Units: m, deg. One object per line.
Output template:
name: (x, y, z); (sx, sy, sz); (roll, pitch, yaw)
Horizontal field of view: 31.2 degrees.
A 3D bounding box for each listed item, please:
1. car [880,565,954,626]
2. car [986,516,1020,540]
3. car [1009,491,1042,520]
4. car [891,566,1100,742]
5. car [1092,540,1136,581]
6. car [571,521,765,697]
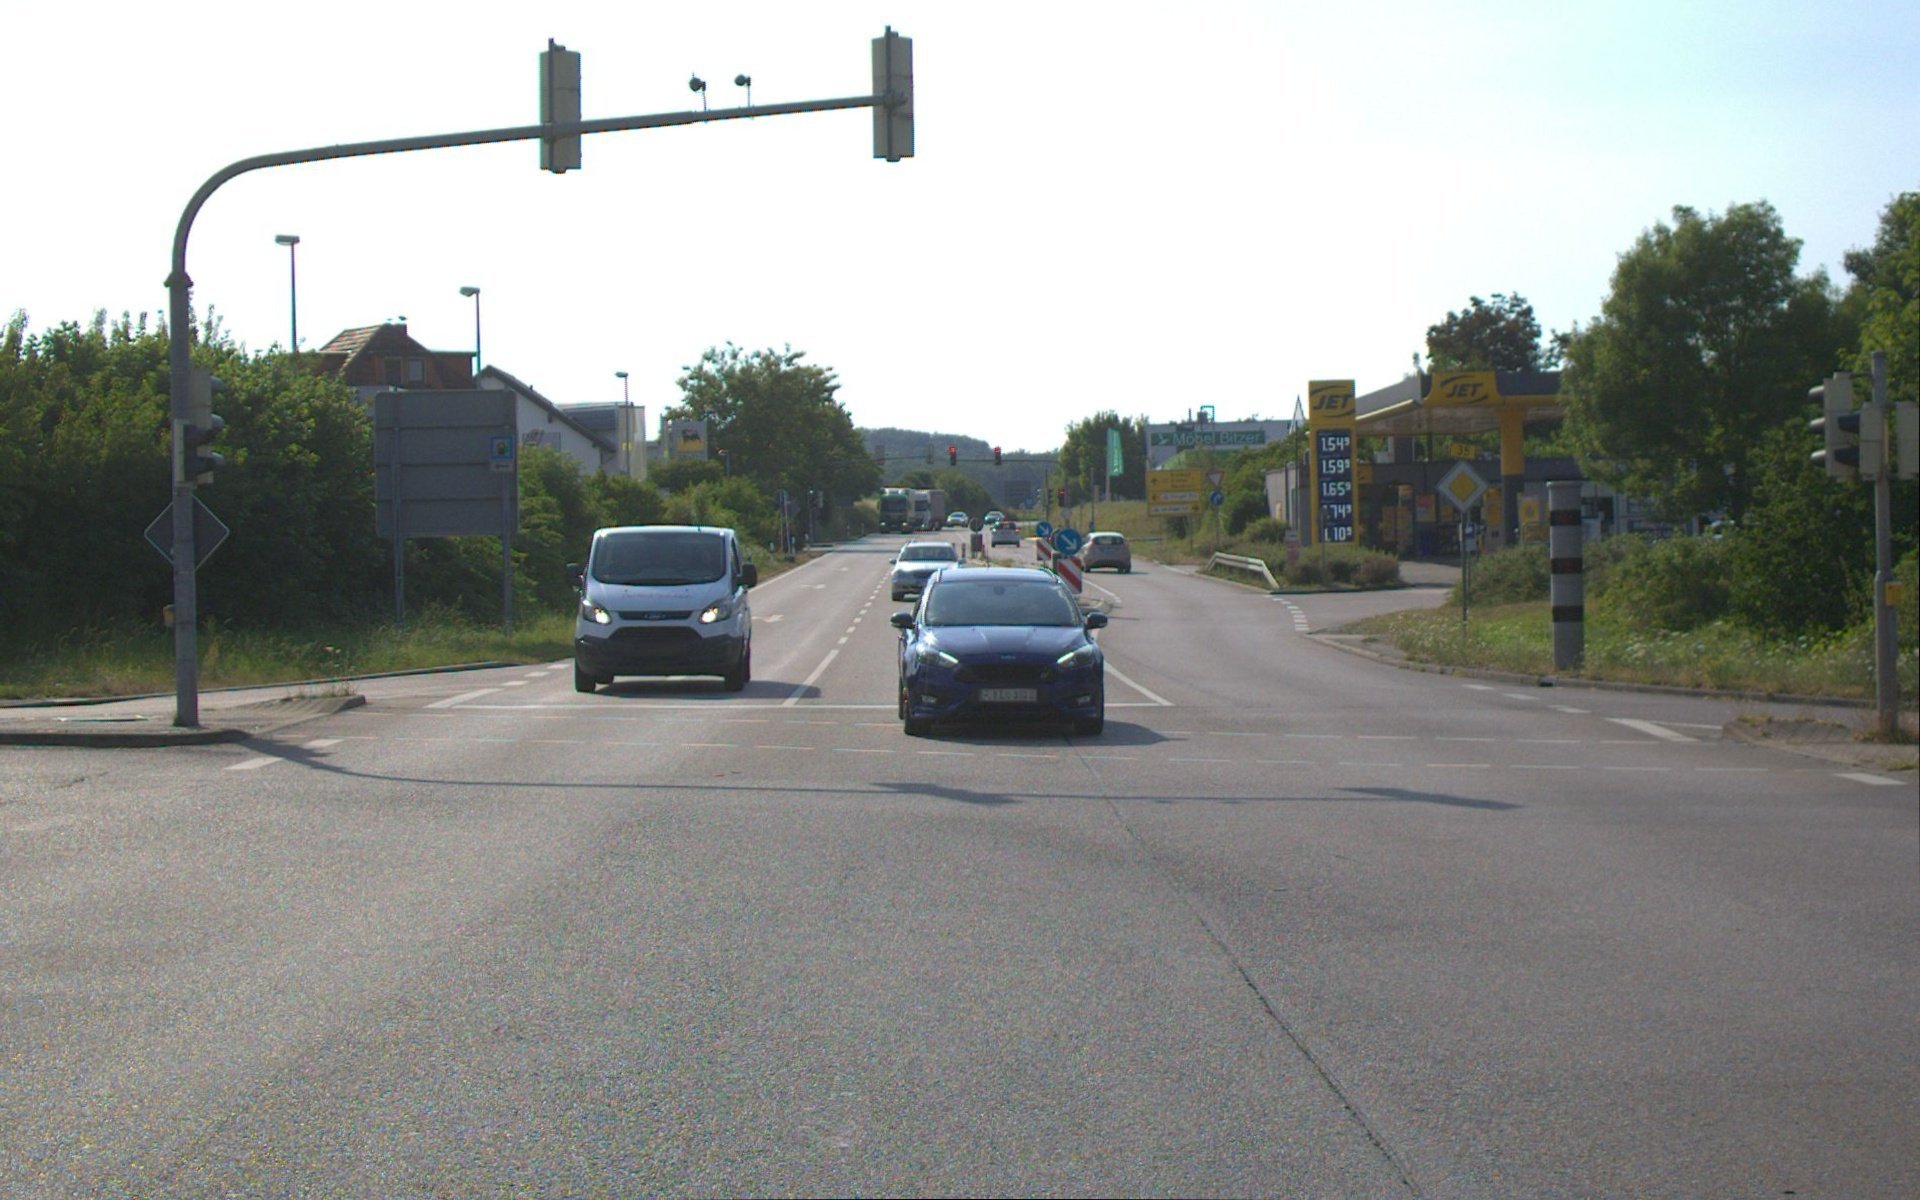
car: (-1.113, -0.114, 88.958); (1.857, 1.508, 4.953); (1, 0, -1)
car: (2.517, -4.214, 202.148); (1.740, 1.347, 3.204); (1, 0, -5)
car: (4.737, -6.890, 250.818); (1.993, 2.007, 4.001); (1, 0, -5)
car: (0.385, 0.468, 31.869); (1.788, 1.492, 4.302); (1, 0, 2)
car: (5.615, -1.436, 125.343); (1.550, 1.444, 3.050); (1, 0, 2)
car: (-3.477, 0.051, 41.727); (1.900, 1.941, 4.819); (1, 2, 0)
